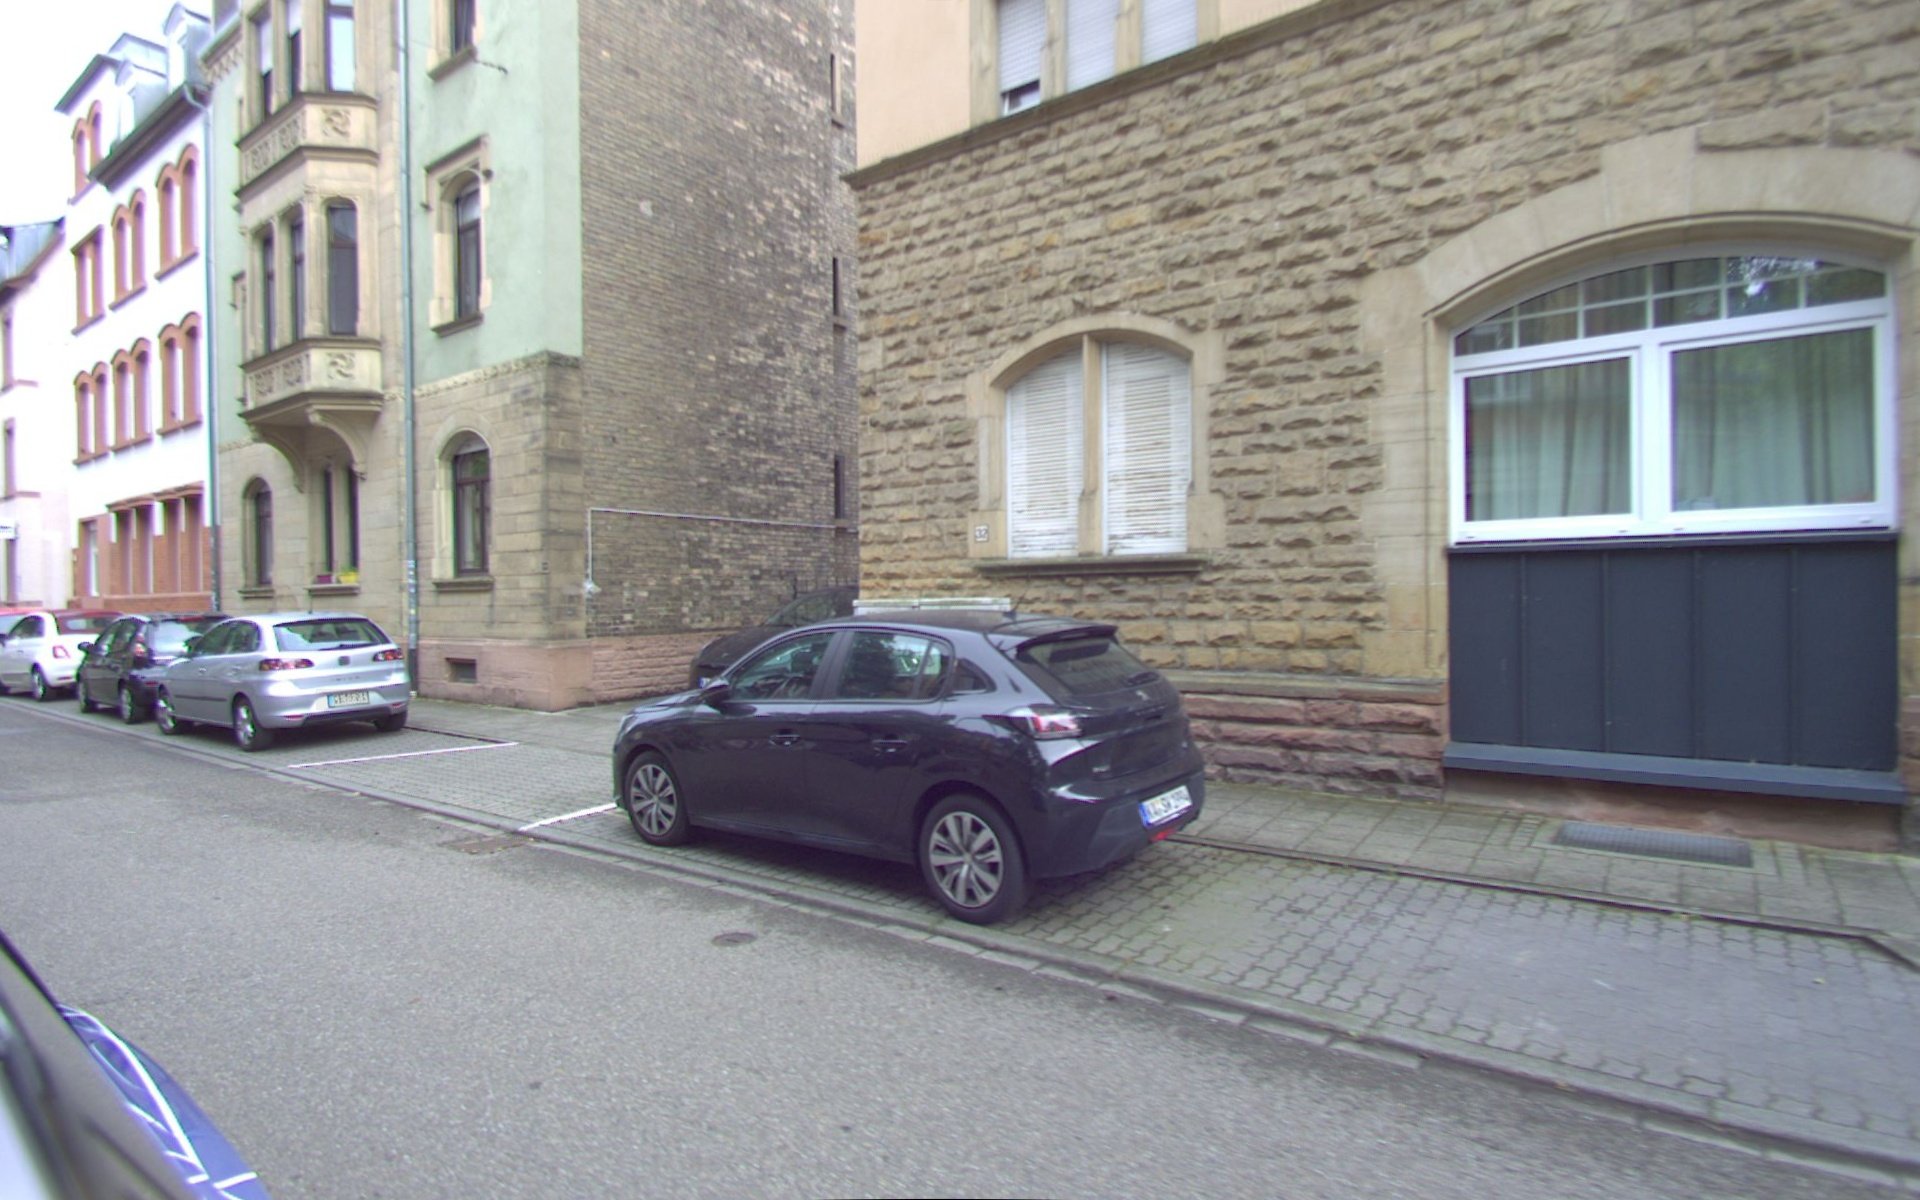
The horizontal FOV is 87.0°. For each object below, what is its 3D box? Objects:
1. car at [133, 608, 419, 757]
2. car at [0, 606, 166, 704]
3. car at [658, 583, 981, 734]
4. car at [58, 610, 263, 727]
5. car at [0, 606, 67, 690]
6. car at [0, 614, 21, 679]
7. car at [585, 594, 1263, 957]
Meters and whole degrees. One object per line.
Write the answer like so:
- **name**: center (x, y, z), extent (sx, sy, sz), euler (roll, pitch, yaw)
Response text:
- **car**: center (-8.172, 0.879, 11.992), extent (3.802, 1.445, 1.575), euler (-1, 1, 36)
- **car**: center (-15.688, 0.908, 17.794), extent (3.543, 1.522, 1.653), euler (-1, 0, 33)
- **car**: center (-1.605, 0.605, 12.742), extent (1.765, 1.576, 3.950), euler (-1, 0, 37)
- **car**: center (-11.637, 0.918, 14.666), extent (3.450, 1.445, 1.503), euler (-1, 1, 38)
- **car**: center (-19.538, 0.958, 20.508), extent (3.562, 1.541, 1.452), euler (-1, 1, 37)
- **car**: center (-22.859, 1.081, 23.082), extent (3.912, 1.427, 1.452), euler (-1, 1, 37)
- **car**: center (-0.400, 0.757, 6.075), extent (3.877, 1.445, 1.711), euler (-1, 1, 39)
